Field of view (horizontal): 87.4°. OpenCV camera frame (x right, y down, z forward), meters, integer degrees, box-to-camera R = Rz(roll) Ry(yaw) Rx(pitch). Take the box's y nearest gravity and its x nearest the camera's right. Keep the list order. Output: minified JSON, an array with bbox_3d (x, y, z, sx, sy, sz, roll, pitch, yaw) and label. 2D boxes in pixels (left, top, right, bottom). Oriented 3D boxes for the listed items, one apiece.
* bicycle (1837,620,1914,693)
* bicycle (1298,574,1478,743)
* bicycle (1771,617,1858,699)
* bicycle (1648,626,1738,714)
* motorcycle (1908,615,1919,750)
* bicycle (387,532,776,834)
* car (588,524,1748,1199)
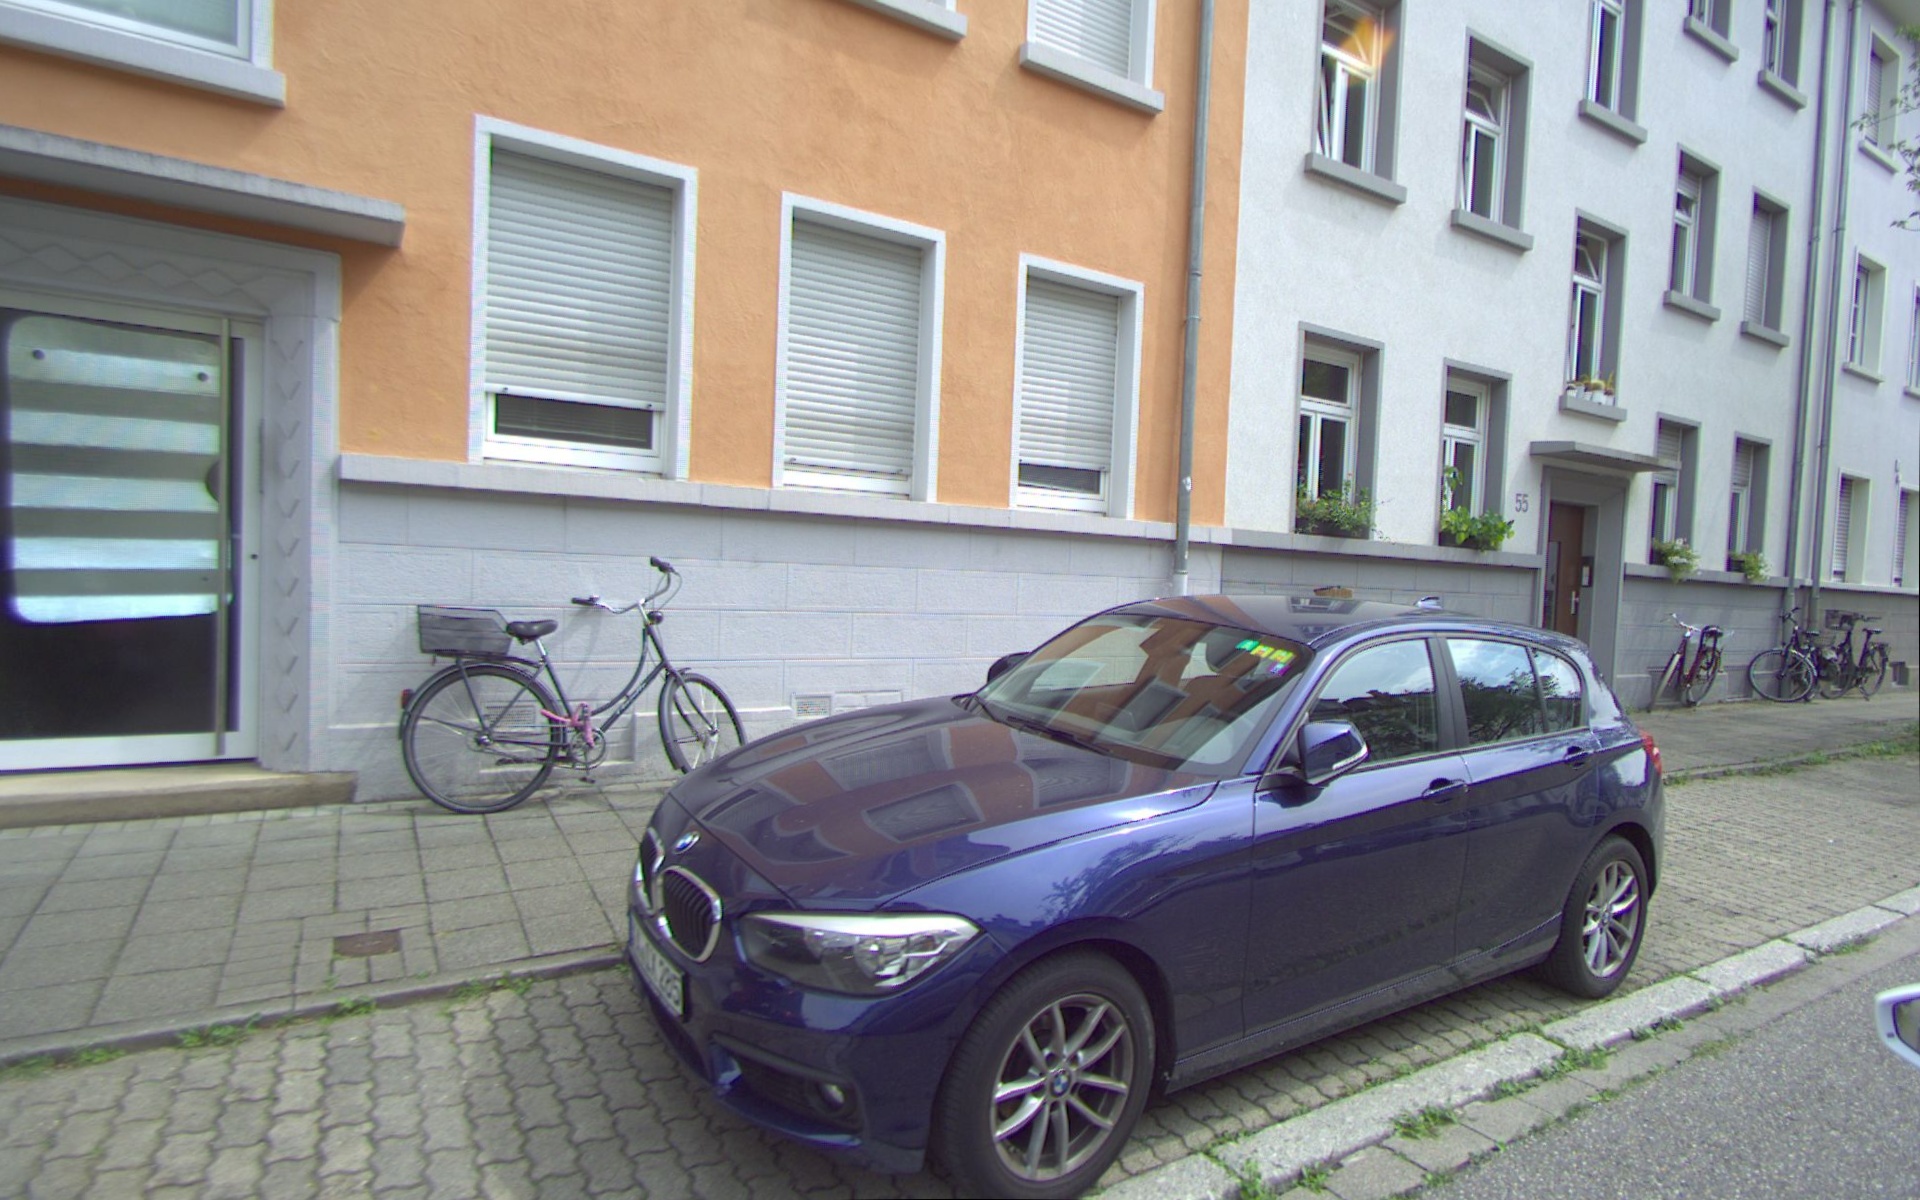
[{"bbox_3d":[13.280,0.814,14.560,1.417,1.020,0.418,2,0,-31],"label":"bicycle"},{"bbox_3d":[3.718,0.493,8.671,1.790,1.352,0.427,2,0,-30],"label":"bicycle"},{"bbox_3d":[11.181,0.749,13.128,1.417,1.020,0.418,2,0,-31],"label":"bicycle"},{"bbox_3d":[8.577,0.808,11.734,1.417,0.979,0.308,2,0,-31],"label":"bicycle"},{"bbox_3d":[11.067,0.892,10.230,0.787,1.426,1.993,2,-1,-42],"label":"motorcycle"},{"bbox_3d":[-1.879,0.394,5.132,1.790,1.352,0.427,2,0,-30],"label":"bicycle"},{"bbox_3d":[0.963,0.632,3.748,4.078,1.504,1.825,2,4,-34],"label":"car"}]
